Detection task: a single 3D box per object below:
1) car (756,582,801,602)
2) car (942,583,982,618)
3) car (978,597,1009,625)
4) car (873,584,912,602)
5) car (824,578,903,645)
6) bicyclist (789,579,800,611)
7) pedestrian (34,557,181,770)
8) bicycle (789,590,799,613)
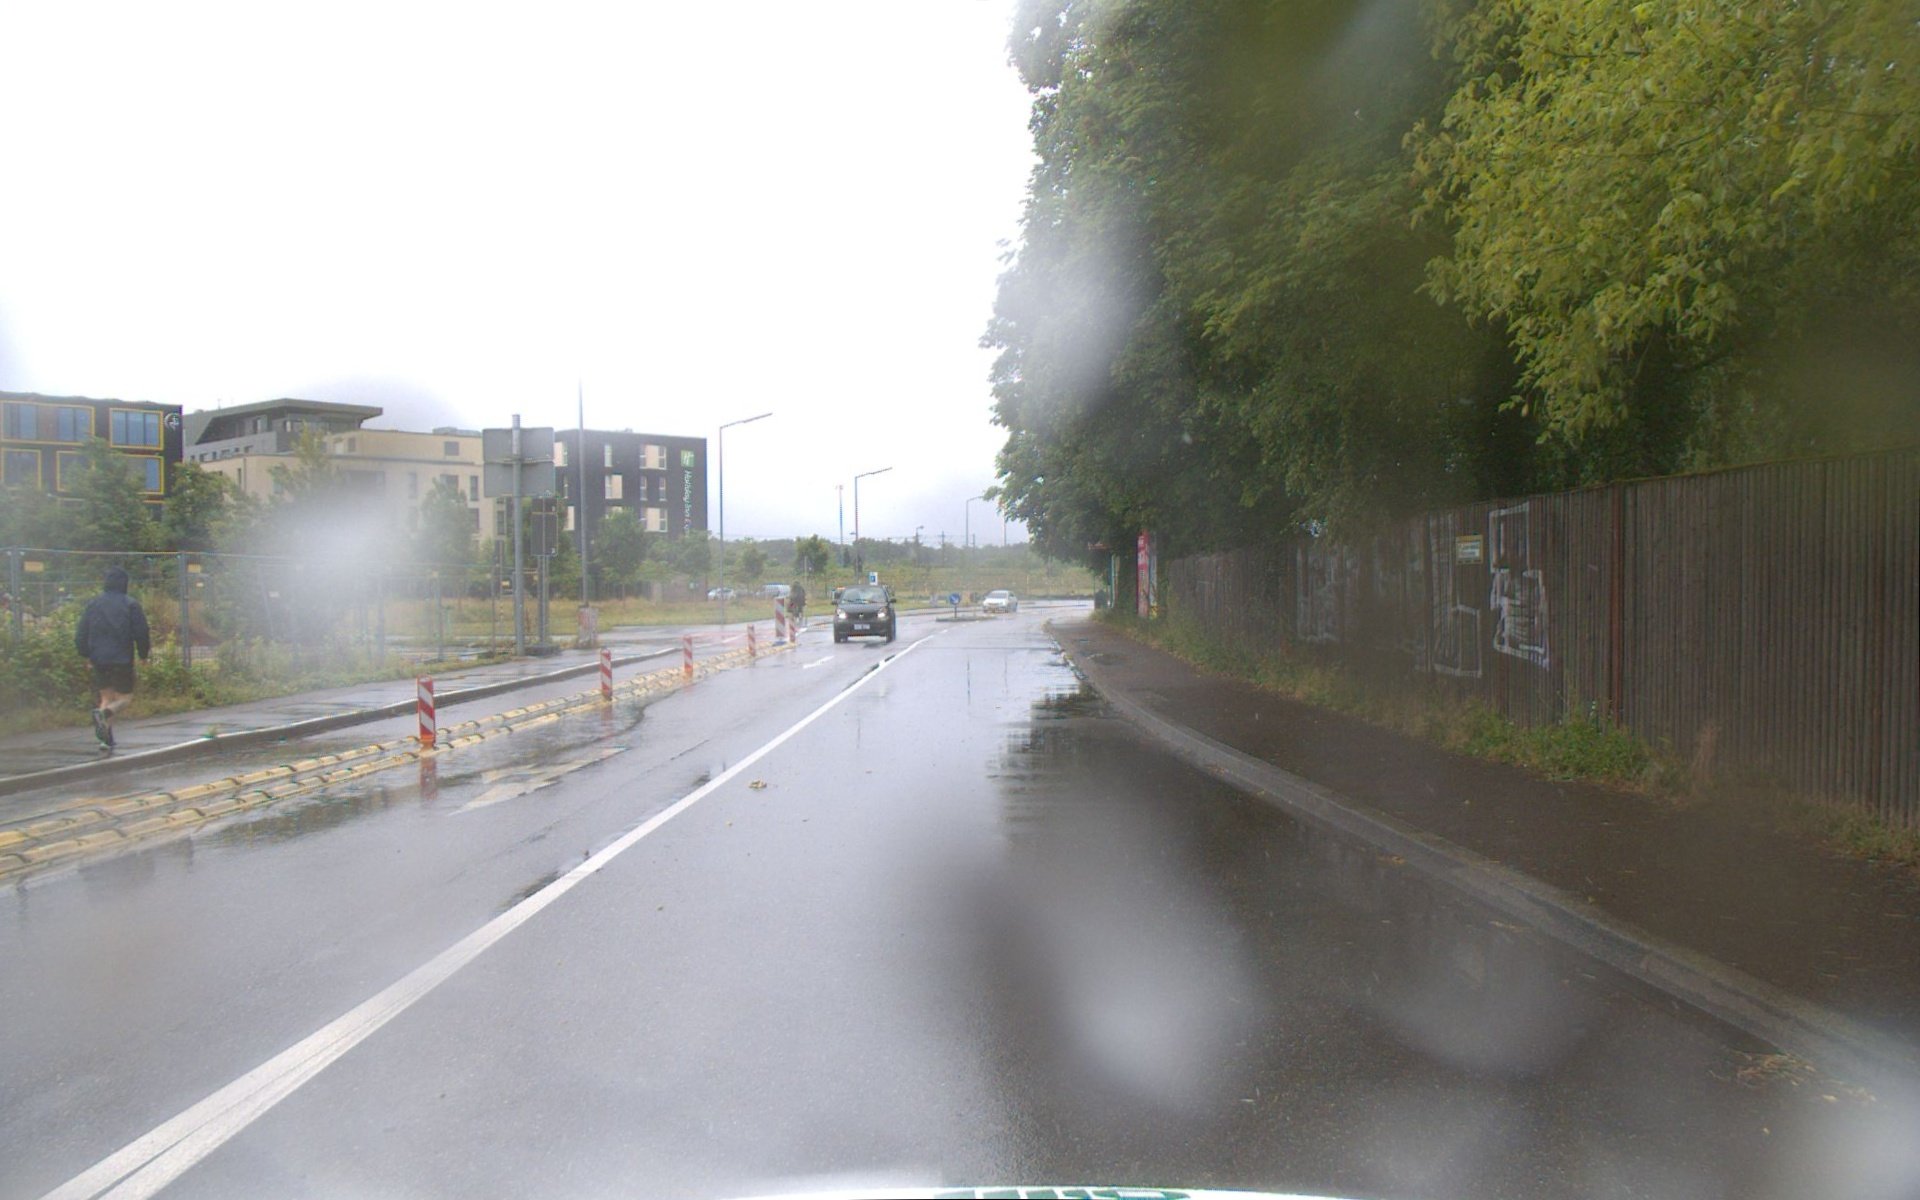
[{"bbox_3d":[-17.706,-0.752,161.173,3.968,1.803,1.968,1,-3,-44],"label":"car"},{"bbox_3d":[0.133,0.057,90.974,1.952,1.803,4.001,-1,-2,3],"label":"car"},{"bbox_3d":[2.334,0.772,113.596,1.952,1.803,4.001,-1,-2,3],"label":"car"},{"bbox_3d":[-7.342,-0.756,179.775,3.968,1.803,1.968,1,-3,-44],"label":"car"},{"bbox_3d":[-2.712,0.311,47.384,1.952,1.803,4.000,-1,0,0],"label":"car"},{"bbox_3d":[-7.605,-0.217,76.102,0.435,1.428,0.550,-1,-2,-3],"label":"bicyclist"},{"bbox_3d":[-8.530,0.632,16.593,0.828,2.049,1.132,-1,-2,4],"label":"pedestrian"},{"bbox_3d":[-7.632,0.070,76.039,0.418,1.037,1.610,0,0,-4],"label":"bicycle"}]
